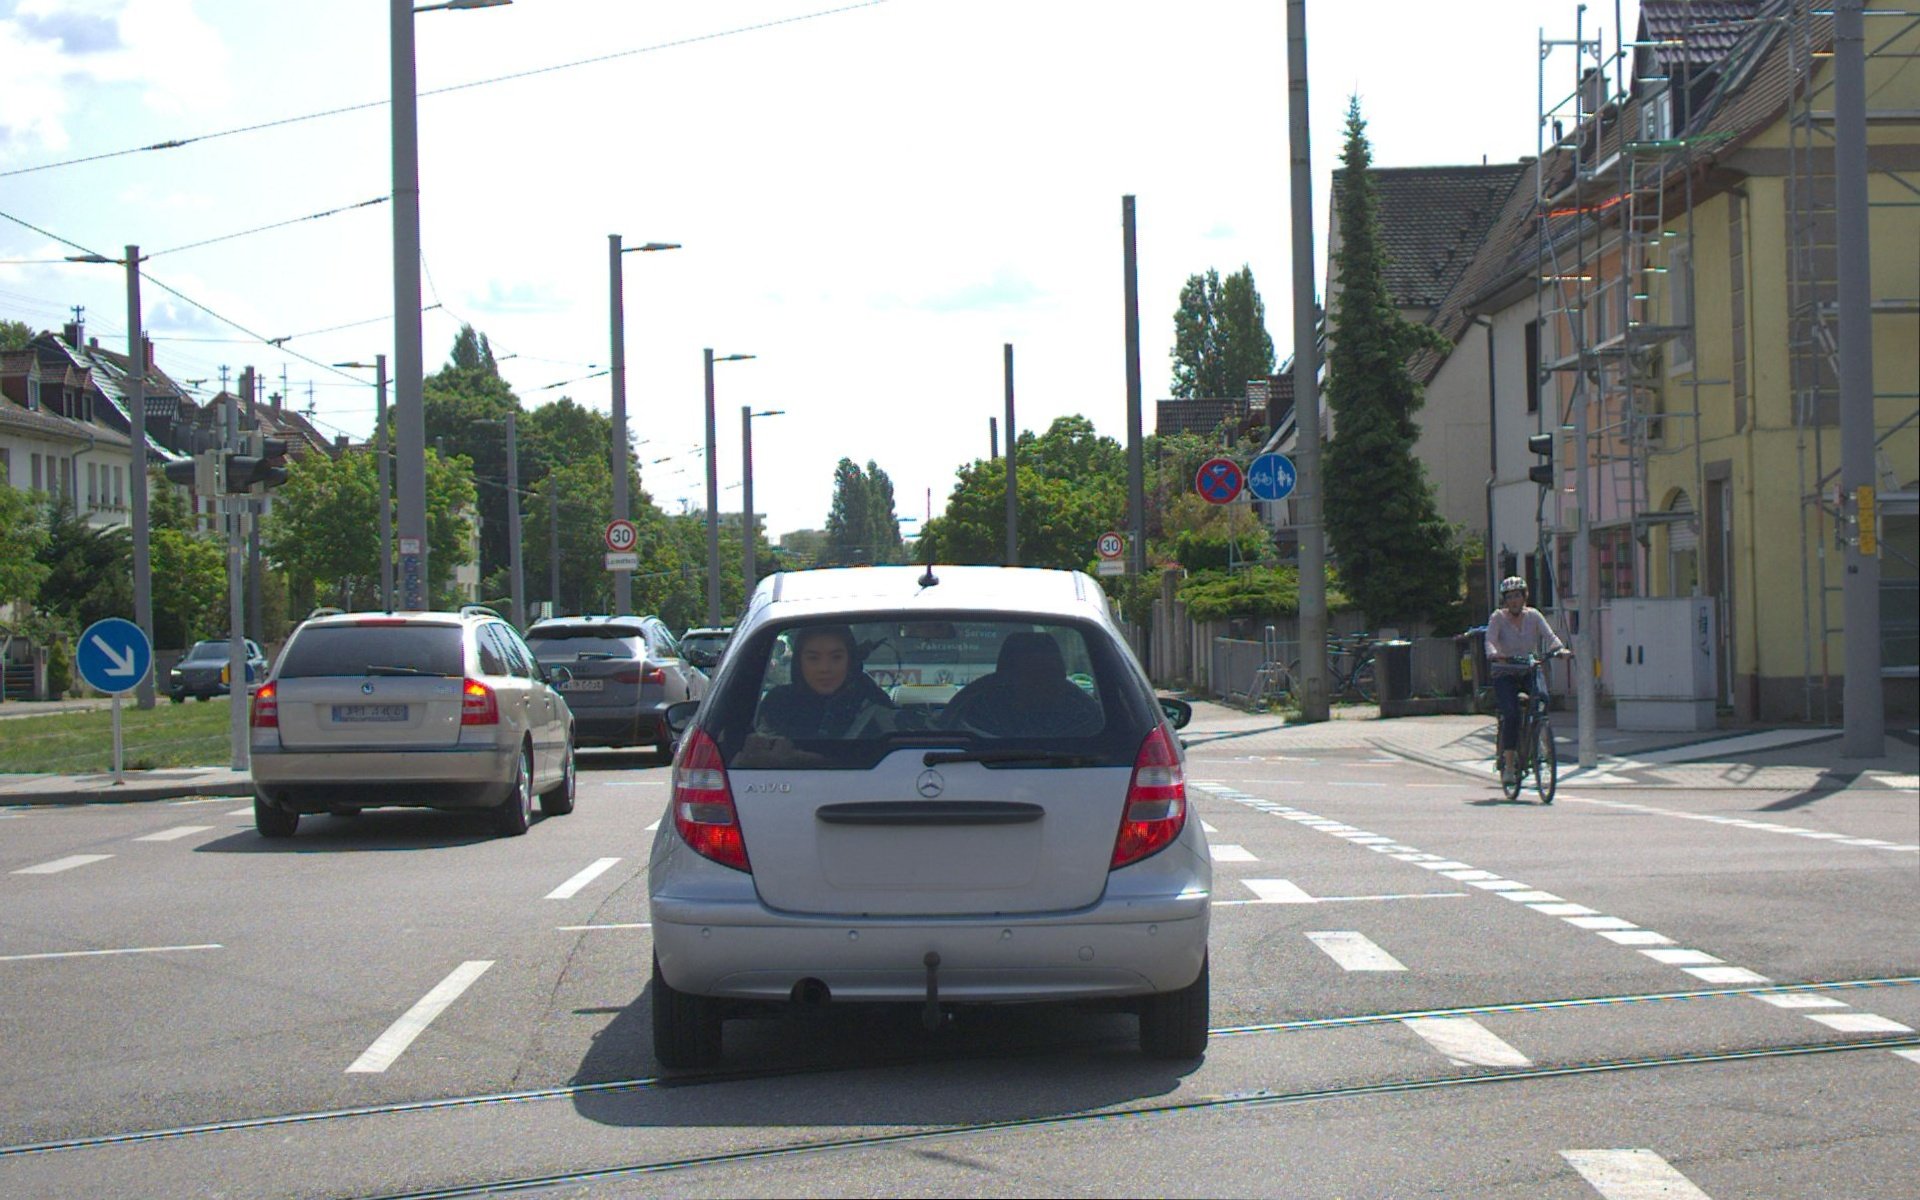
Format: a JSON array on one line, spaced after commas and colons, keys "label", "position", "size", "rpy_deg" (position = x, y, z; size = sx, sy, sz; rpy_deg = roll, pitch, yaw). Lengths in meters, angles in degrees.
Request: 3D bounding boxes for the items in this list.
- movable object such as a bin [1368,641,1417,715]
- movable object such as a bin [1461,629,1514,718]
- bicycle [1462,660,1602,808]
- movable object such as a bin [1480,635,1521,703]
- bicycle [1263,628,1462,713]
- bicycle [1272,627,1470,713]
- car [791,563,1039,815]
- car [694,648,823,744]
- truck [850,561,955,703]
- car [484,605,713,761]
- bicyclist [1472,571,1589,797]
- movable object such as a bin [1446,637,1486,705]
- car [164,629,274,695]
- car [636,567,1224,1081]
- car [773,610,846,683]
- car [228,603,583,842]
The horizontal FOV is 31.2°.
[{"label": "movable object such as a bin", "position": [5.412, 0.976, 43.073], "size": [0.511, 0.915, 0.741], "rpy_deg": [-1, -1, 0]}, {"label": "movable object such as a bin", "position": [6.622, 0.923, 43.178], "size": [0.511, 1.101, 0.855], "rpy_deg": [-1, -1, 0]}, {"label": "bicycle", "position": [4.465, 1.032, 26.936], "size": [0.650, 1.114, 1.588], "rpy_deg": [1, -1, -7]}, {"label": "movable object such as a bin", "position": [7.695, 0.979, 48.947], "size": [0.468, 0.943, 0.558], "rpy_deg": [-2, -1, 0]}, {"label": "bicycle", "position": [5.756, 1.005, 49.259], "size": [2.726, 1.116, 0.691], "rpy_deg": [-2, -1, -1]}, {"label": "bicycle", "position": [5.788, 0.987, 48.508], "size": [2.661, 1.101, 0.786], "rpy_deg": [-2, -1, -1]}, {"label": "car", "position": [-0.339, 0.654, 26.097], "size": [1.730, 1.756, 4.016], "rpy_deg": [0, -1, -1]}, {"label": "car", "position": [-3.042, 1.440, 52.631], "size": [1.852, 1.384, 4.514], "rpy_deg": [0, -1, -2]}, {"label": "truck", "position": [-1.125, 0.625, 65.119], "size": [1.852, 2.544, 5.855], "rpy_deg": [0, -1, -2]}, {"label": "car", "position": [-3.607, 0.813, 35.053], "size": [1.916, 1.472, 4.562], "rpy_deg": [0, -1, -1]}, {"label": "bicyclist", "position": [4.465, 0.657, 26.948], "size": [0.650, 1.732, 0.984], "rpy_deg": [1, -1, -7]}, {"label": "movable object such as a bin", "position": [7.205, 1.010, 48.951], "size": [0.468, 0.943, 0.558], "rpy_deg": [-1, -1, 0]}, {"label": "car", "position": [-20.331, 1.703, 94.529], "size": [2.014, 1.706, 4.937], "rpy_deg": [-2, -1, -1]}, {"label": "car", "position": [-0.167, 0.695, 12.185], "size": [1.730, 1.512, 4.016], "rpy_deg": [0, -1, -2]}, {"label": "car", "position": [-3.897, 1.212, 89.393], "size": [1.852, 1.837, 3.918], "rpy_deg": [0, -1, -2]}, {"label": "car", "position": [-3.639, 0.754, 23.203], "size": [1.731, 1.444, 4.123], "rpy_deg": [0, 0, 0]}]
